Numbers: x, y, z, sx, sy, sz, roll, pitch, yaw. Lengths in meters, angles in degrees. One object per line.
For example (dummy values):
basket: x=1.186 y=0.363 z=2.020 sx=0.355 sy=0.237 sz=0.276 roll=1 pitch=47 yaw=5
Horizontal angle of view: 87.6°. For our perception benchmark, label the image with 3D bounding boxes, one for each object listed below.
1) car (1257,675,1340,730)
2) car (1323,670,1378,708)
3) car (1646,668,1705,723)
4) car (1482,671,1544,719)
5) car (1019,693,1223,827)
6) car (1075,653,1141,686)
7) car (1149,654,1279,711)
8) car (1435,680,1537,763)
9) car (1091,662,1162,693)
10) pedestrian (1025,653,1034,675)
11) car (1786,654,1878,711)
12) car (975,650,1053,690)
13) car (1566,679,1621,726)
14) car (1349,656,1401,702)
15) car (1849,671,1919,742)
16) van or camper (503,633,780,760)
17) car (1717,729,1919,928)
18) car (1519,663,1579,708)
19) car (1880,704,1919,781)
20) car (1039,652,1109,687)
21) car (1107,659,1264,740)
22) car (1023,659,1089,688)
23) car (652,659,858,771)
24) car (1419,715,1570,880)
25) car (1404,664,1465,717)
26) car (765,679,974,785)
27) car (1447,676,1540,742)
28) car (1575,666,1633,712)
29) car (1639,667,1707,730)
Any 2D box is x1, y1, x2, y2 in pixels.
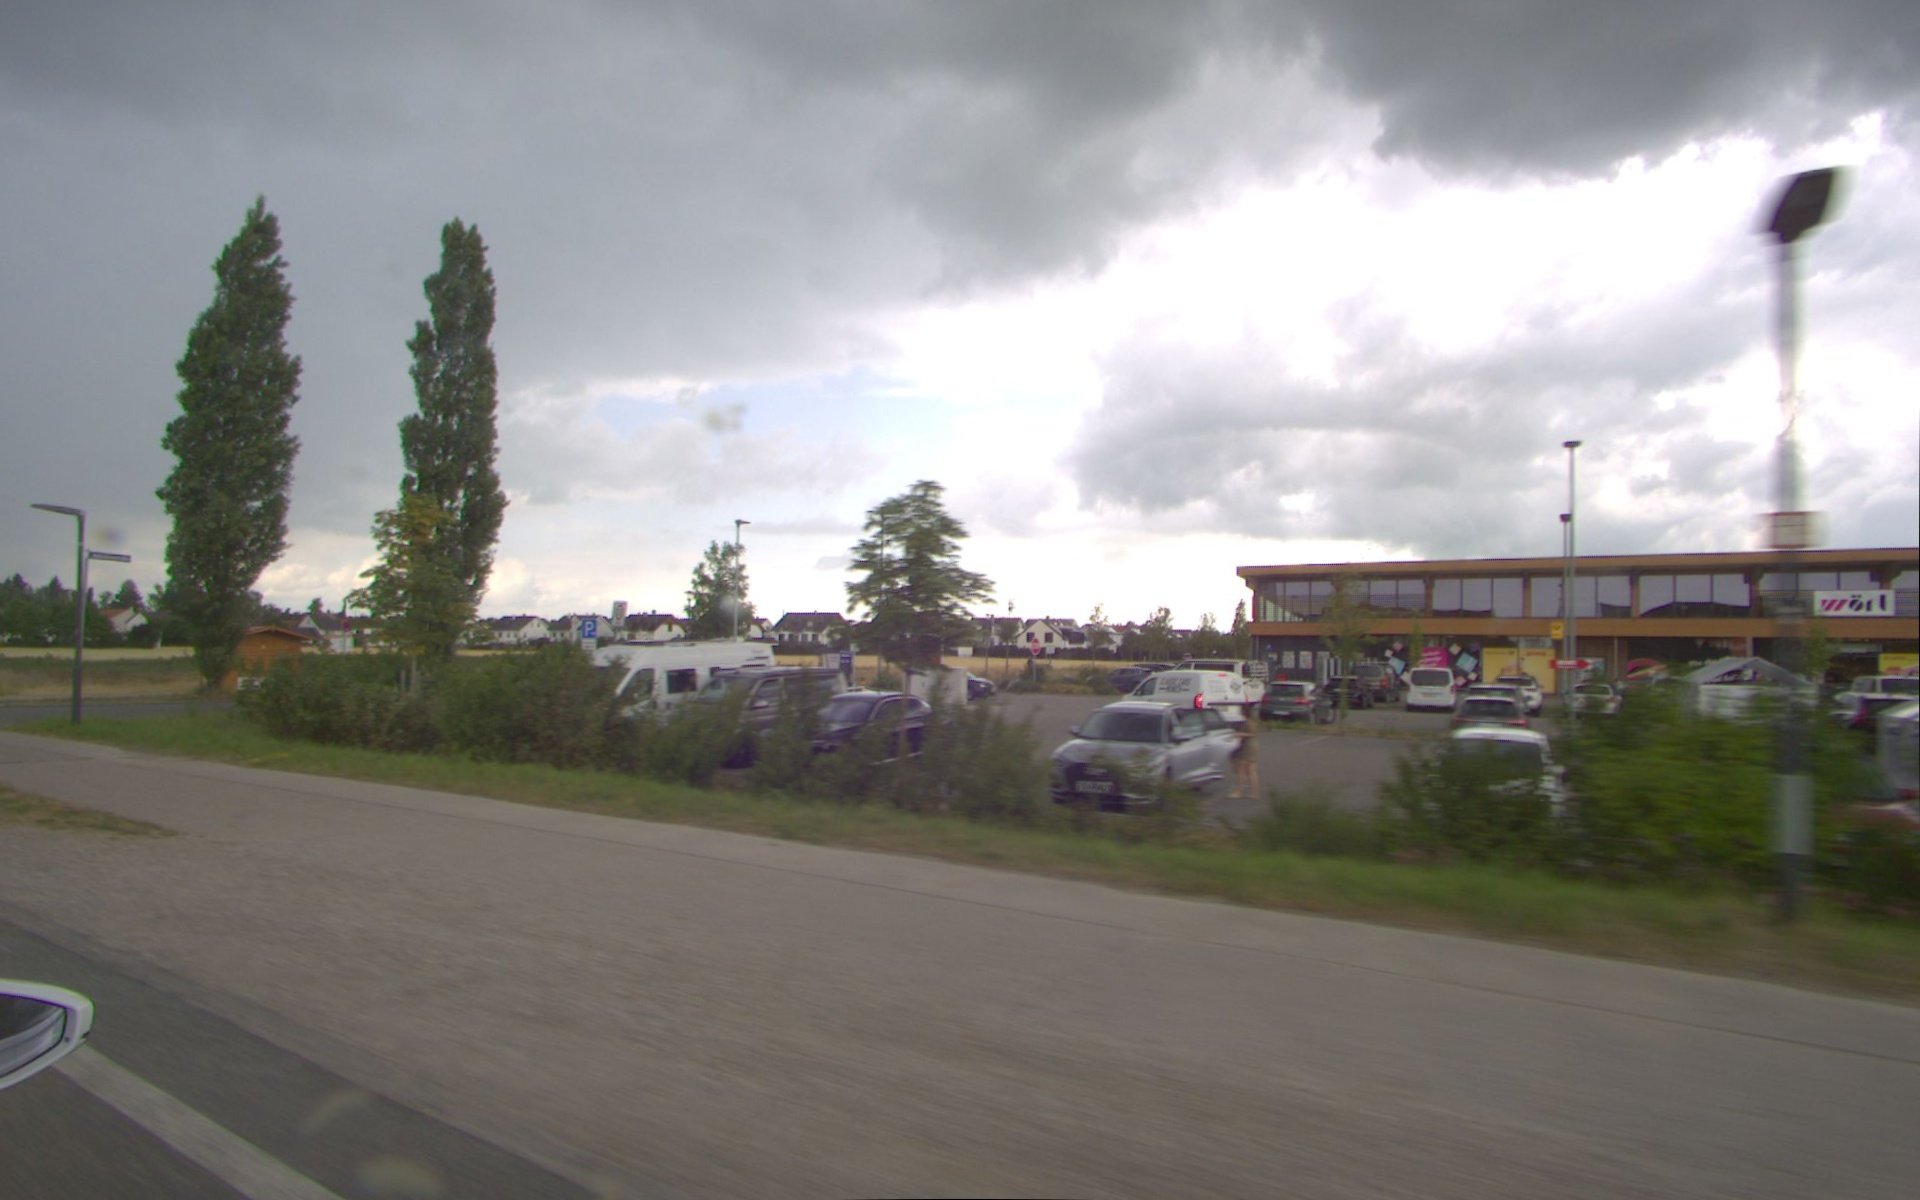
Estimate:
car: x=11.385 y=3.369 z=33.523 sx=1.874 sy=1.451 sz=4.172 roll=0 pitch=-1 yaw=30
car: x=17.079 y=3.848 z=43.689 sx=1.748 sy=1.400 sz=3.457 roll=0 pitch=-1 yaw=30
car: x=30.919 y=4.082 z=43.246 sx=1.974 sy=2.040 sz=3.974 roll=0 pitch=-1 yaw=36
car: x=22.787 y=3.856 z=41.196 sx=2.010 sy=1.628 sz=3.730 roll=0 pitch=-1 yaw=32
car: x=2.841 y=2.537 z=16.874 sx=2.049 sy=1.618 sz=4.141 roll=0 pitch=-1 yaw=30
car: x=9.972 y=4.636 z=67.493 sx=3.943 sy=2.040 sz=1.990 roll=-1 pitch=-1 yaw=32
car: x=10.576 y=3.386 z=42.022 sx=1.977 sy=2.040 sz=5.192 roll=1 pitch=-1 yaw=-39
car: x=13.190 y=2.937 z=24.995 sx=1.972 sy=1.639 sz=3.979 roll=0 pitch=-1 yaw=32
car: x=9.262 y=4.303 z=55.887 sx=3.528 sy=1.527 sz=1.742 roll=-1 pitch=-1 yaw=32
pedestrian: x=5.655 y=5.201 z=81.799 sx=0.591 sy=1.784 sz=0.481 roll=0 pitch=0 yaw=32
car: x=36.063 y=3.337 z=41.551 sx=1.971 sy=2.040 sz=5.122 roll=0 pitch=-1 yaw=31
car: x=3.038 y=3.912 z=56.236 sx=3.943 sy=2.040 sz=1.990 roll=-1 pitch=-1 yaw=32
car: x=25.107 y=4.020 z=39.707 sx=1.768 sy=1.496 sz=3.730 roll=0 pitch=-1 yaw=32
car: x=20.698 y=3.867 z=49.870 sx=1.824 sy=2.036 sz=4.212 roll=0 pitch=-1 yaw=30
car: x=32.643 y=3.620 z=34.580 sx=1.971 sy=2.040 sz=5.122 roll=0 pitch=-1 yaw=31
van or camper: x=-7.235 y=2.063 z=23.707 sx=2.247 sy=2.496 sz=6.459 roll=0 pitch=-1 yaw=30
car: x=10.187 y=2.513 z=11.723 sx=1.651 sy=1.558 sz=3.751 roll=0 pitch=-1 yaw=30
car: x=26.484 y=3.796 z=44.994 sx=1.920 sy=1.772 sz=3.974 roll=0 pitch=-1 yaw=36
car: x=21.034 y=3.023 z=20.871 sx=1.971 sy=1.460 sz=3.983 roll=0 pitch=-3 yaw=31
car: x=7.235 y=4.363 z=63.458 sx=3.943 sy=2.040 sz=1.990 roll=-1 pitch=-1 yaw=32
car: x=6.405 y=2.796 z=29.102 sx=2.075 sy=1.931 sz=4.929 roll=0 pitch=-1 yaw=-21
car: x=5.725 y=4.381 z=59.879 sx=3.528 sy=1.527 sz=1.742 roll=-1 pitch=-1 yaw=32
car: x=-4.439 y=2.430 z=22.419 sx=1.970 sy=2.040 sz=4.587 roll=0 pitch=-1 yaw=30
car: x=7.639 y=2.621 z=14.223 sx=1.651 sy=1.558 sz=4.141 roll=0 pitch=-1 yaw=30
car: x=20.022 y=3.752 z=42.172 sx=2.009 sy=1.936 sz=3.888 roll=0 pitch=-1 yaw=30
car: x=-1.695 y=2.613 z=20.843 sx=1.732 sy=1.618 sz=5.089 roll=0 pitch=-1 yaw=30
car: x=16.346 y=3.267 z=30.607 sx=1.974 sy=1.639 sz=3.974 roll=0 pitch=-1 yaw=36
car: x=28.552 y=3.886 z=44.352 sx=1.920 sy=1.772 sz=3.974 roll=0 pitch=-1 yaw=36
car: x=26.636 y=3.607 z=37.378 sx=1.974 sy=2.040 sz=3.974 roll=0 pitch=-1 yaw=36
